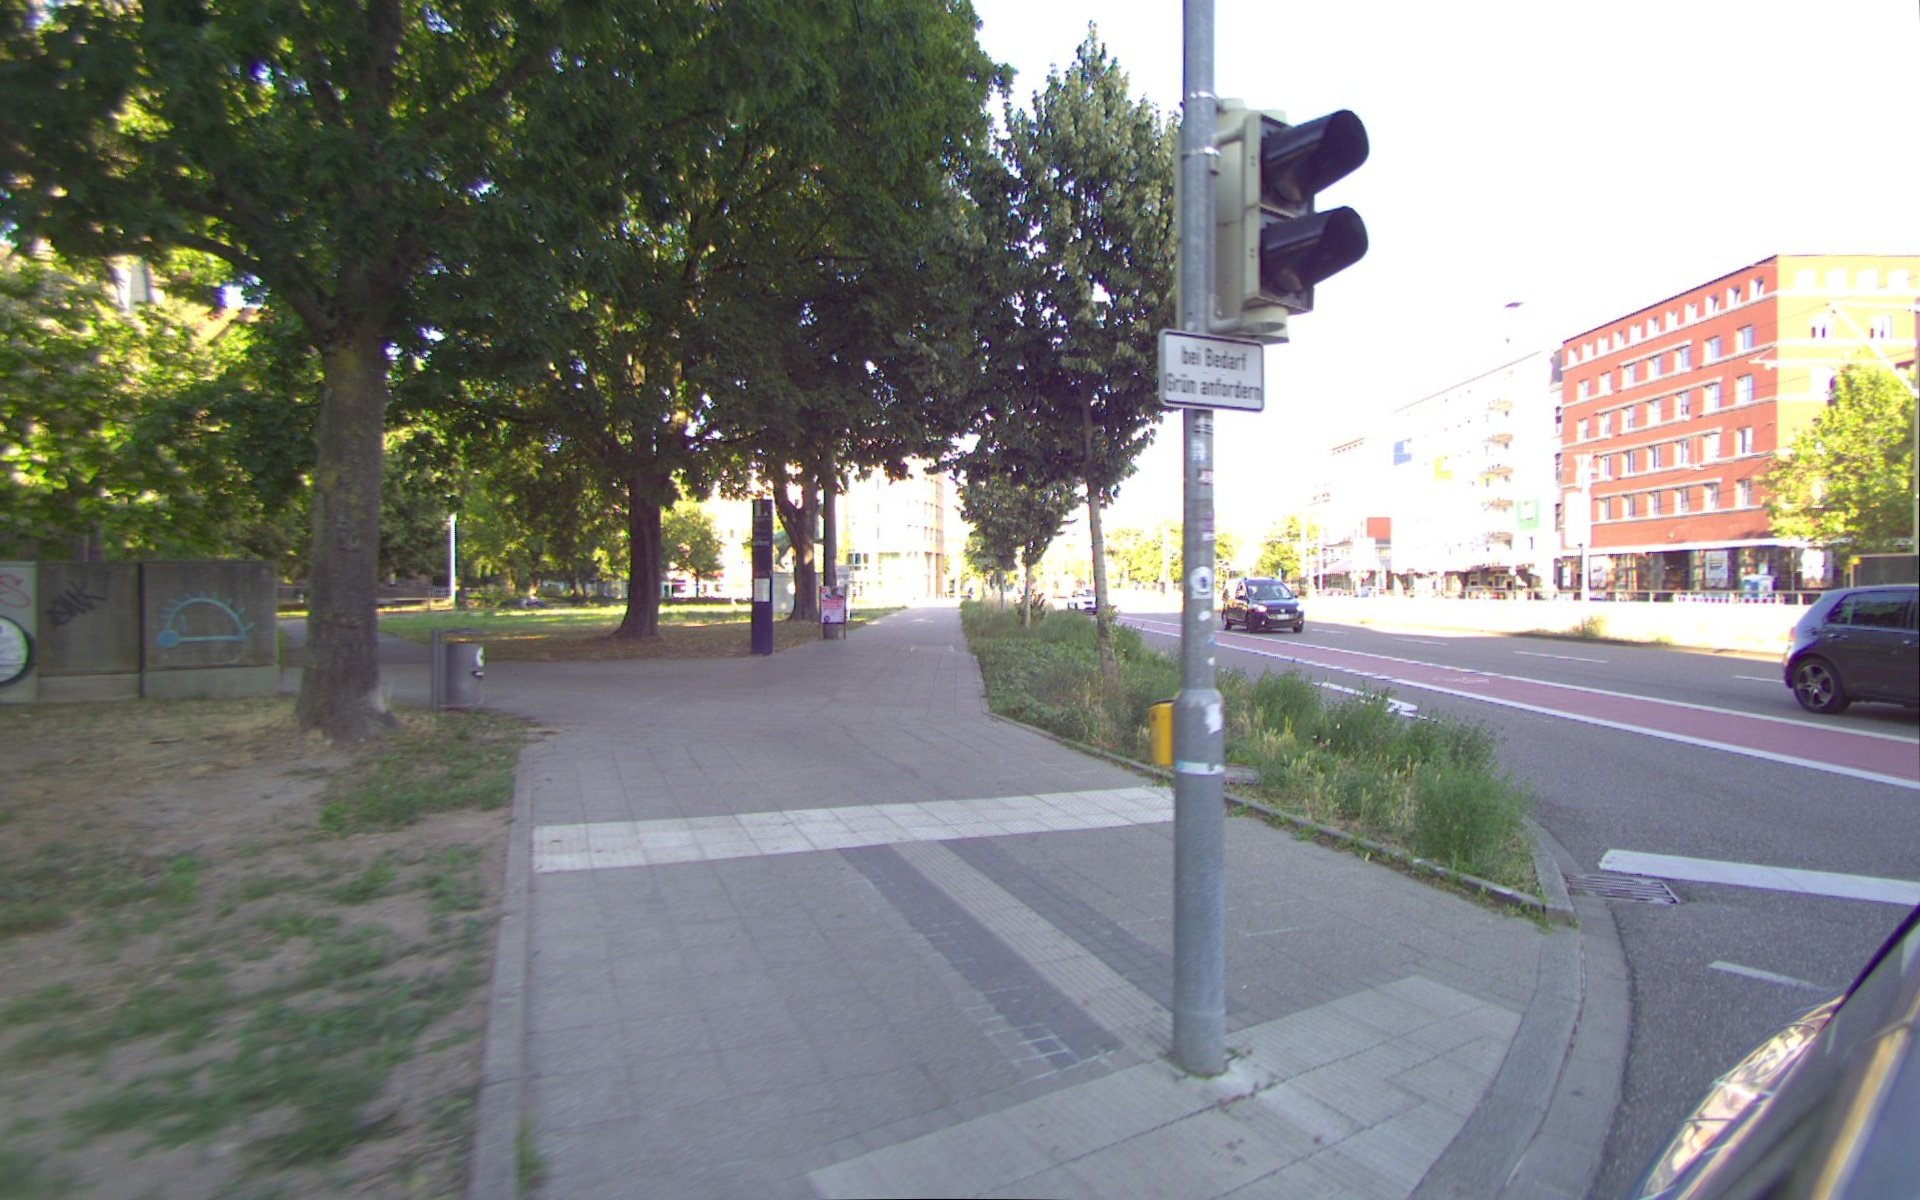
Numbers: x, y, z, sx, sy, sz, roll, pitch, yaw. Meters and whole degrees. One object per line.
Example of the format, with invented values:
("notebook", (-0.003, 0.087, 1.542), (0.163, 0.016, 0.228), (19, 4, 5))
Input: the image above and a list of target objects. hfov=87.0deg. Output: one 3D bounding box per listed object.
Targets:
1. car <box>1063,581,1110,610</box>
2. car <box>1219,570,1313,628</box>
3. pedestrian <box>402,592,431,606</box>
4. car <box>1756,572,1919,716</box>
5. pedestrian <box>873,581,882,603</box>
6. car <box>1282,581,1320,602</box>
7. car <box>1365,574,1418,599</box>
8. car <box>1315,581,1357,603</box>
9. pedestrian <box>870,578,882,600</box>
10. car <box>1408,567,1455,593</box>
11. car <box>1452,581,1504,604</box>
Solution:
("car", (7.315, -0.263, 58.952), (1.798, 1.556, 4.283), (-3, 1, -5))
("car", (9.945, -0.051, 33.174), (1.737, 1.754, 4.148), (-1, 1, -1))
("pedestrian", (-38.808, -0.090, 72.316), (1.361, 1.007, 1.280), (0, 0, 11))
("car", (10.489, 0.423, 10.029), (1.737, 1.444, 4.246), (-1, 0, -1))
("pedestrian", (-6.506, -0.644, 79.809), (0.588, 1.710, 0.781), (2, 0, 4))
("car", (32.782, -0.837, 97.432), (1.962, 2.039, 4.776), (0, 1, -1))
("car", (32.420, -0.990, 76.210), (1.963, 1.842, 4.977), (0, 1, 2))
("car", (32.868, -0.722, 88.653), (1.963, 1.820, 4.893), (0, 1, 1))
("pedestrian", (-6.514, -0.840, 78.787), (0.728, 1.671, 0.915), (2, 0, 4))
("car", (40.945, -1.707, 88.066), (1.921, 2.161, 4.573), (0, 1, 0))
("car", (43.436, -0.652, 84.926), (1.962, 1.820, 4.741), (0, 1, 1))
